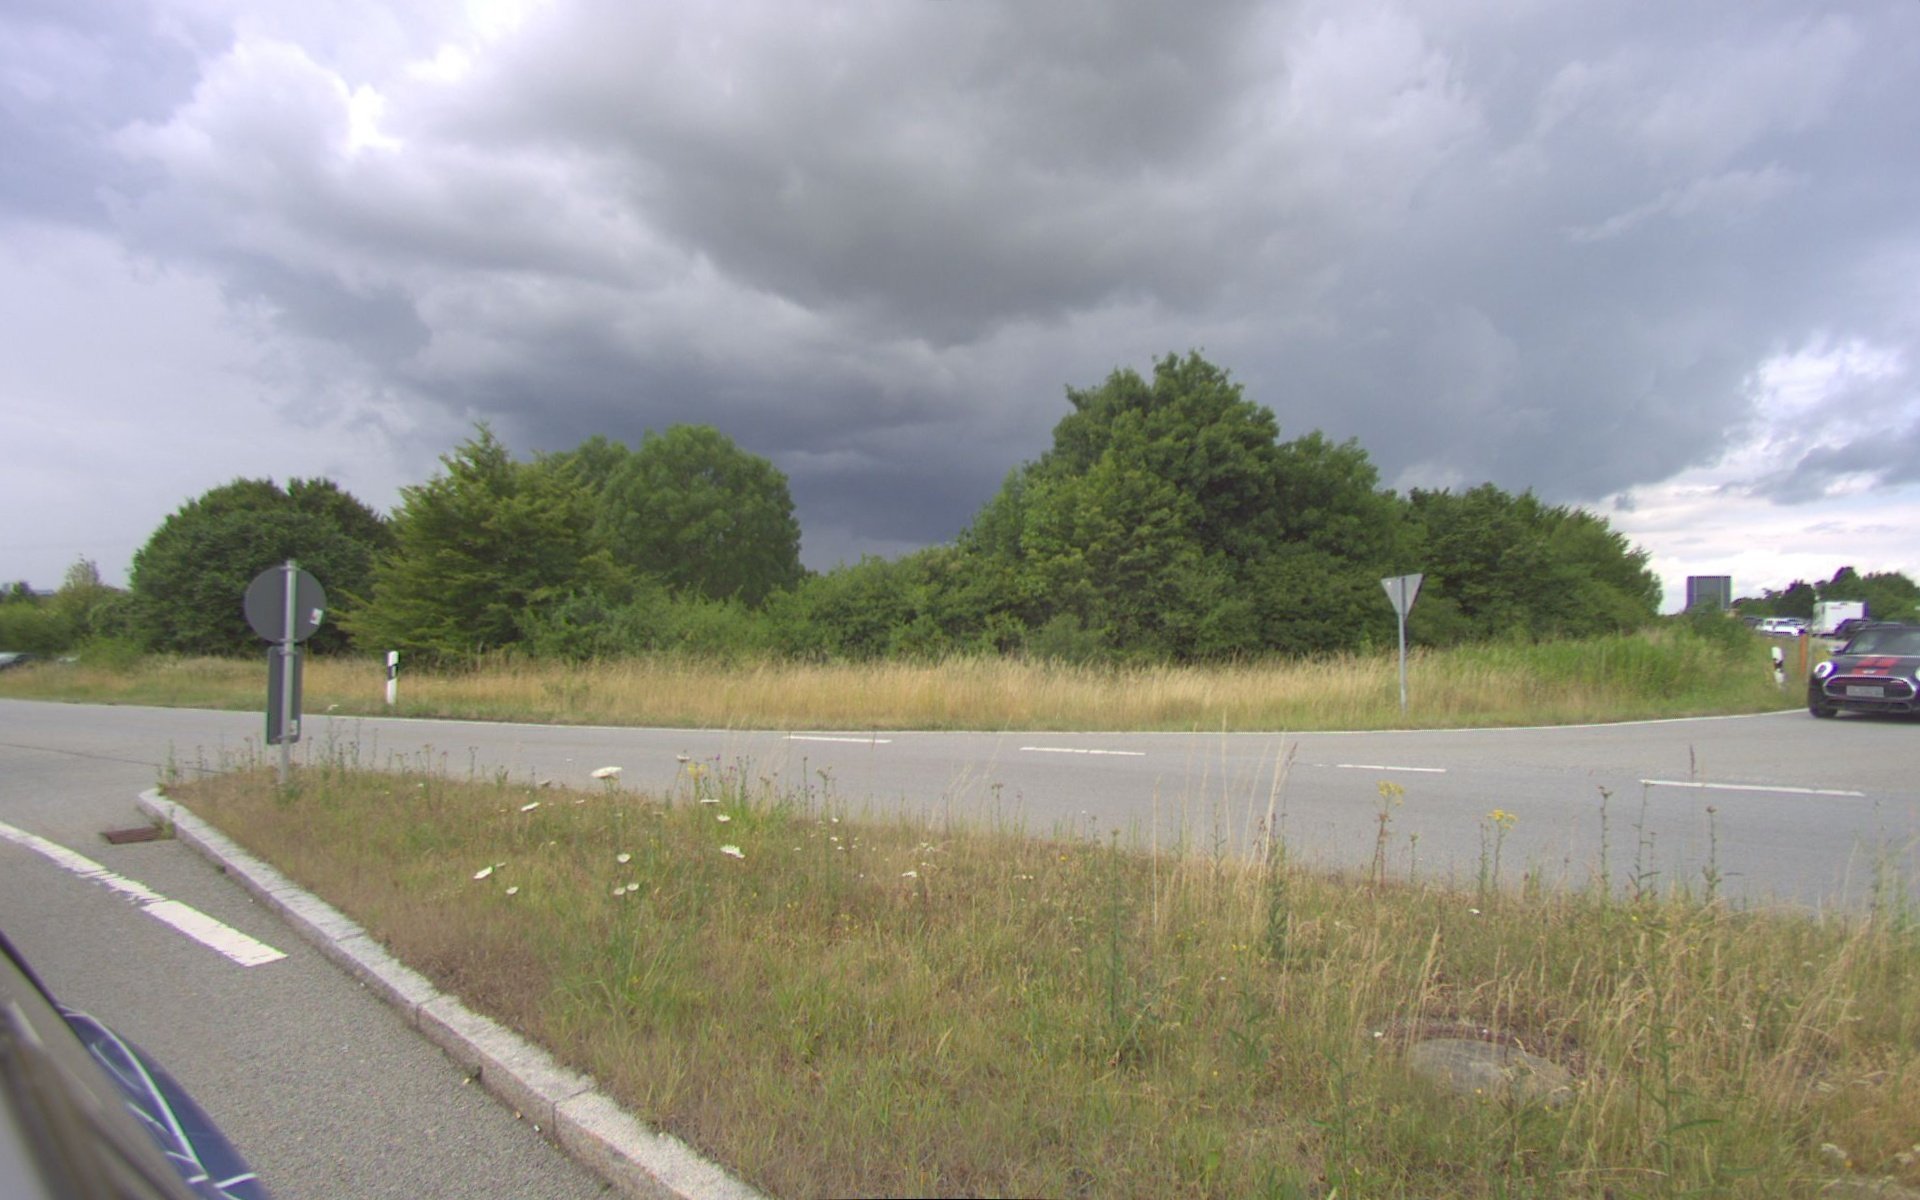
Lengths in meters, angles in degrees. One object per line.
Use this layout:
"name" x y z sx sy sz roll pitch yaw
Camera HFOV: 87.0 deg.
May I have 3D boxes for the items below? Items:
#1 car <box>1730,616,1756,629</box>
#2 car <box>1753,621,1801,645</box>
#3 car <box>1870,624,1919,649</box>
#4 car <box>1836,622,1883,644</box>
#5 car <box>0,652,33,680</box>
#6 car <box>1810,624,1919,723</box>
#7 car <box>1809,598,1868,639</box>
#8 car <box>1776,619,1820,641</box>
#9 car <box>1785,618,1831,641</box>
"car" 90.852 2.620 117.482 1.790 1.564 3.959 0 -2 30
"car" 52.177 2.109 64.732 1.765 1.462 4.346 0 -2 31
"car" 60.727 2.376 65.580 1.842 1.537 3.957 0 -2 31
"car" 64.457 2.359 72.572 1.842 1.537 3.956 0 -2 32
"car" -55.167 3.763 57.539 1.792 1.544 4.009 1 -2 -12
"car" 14.801 1.064 15.354 4.098 1.363 1.679 1 -3 -32
"car" 69.487 1.506 80.143 2.332 3.052 6.489 0 -2 30
"car" 77.491 2.785 93.630 2.332 1.936 4.824 0 -2 30
"car" 74.014 2.581 88.434 2.333 1.936 4.823 0 -2 31
